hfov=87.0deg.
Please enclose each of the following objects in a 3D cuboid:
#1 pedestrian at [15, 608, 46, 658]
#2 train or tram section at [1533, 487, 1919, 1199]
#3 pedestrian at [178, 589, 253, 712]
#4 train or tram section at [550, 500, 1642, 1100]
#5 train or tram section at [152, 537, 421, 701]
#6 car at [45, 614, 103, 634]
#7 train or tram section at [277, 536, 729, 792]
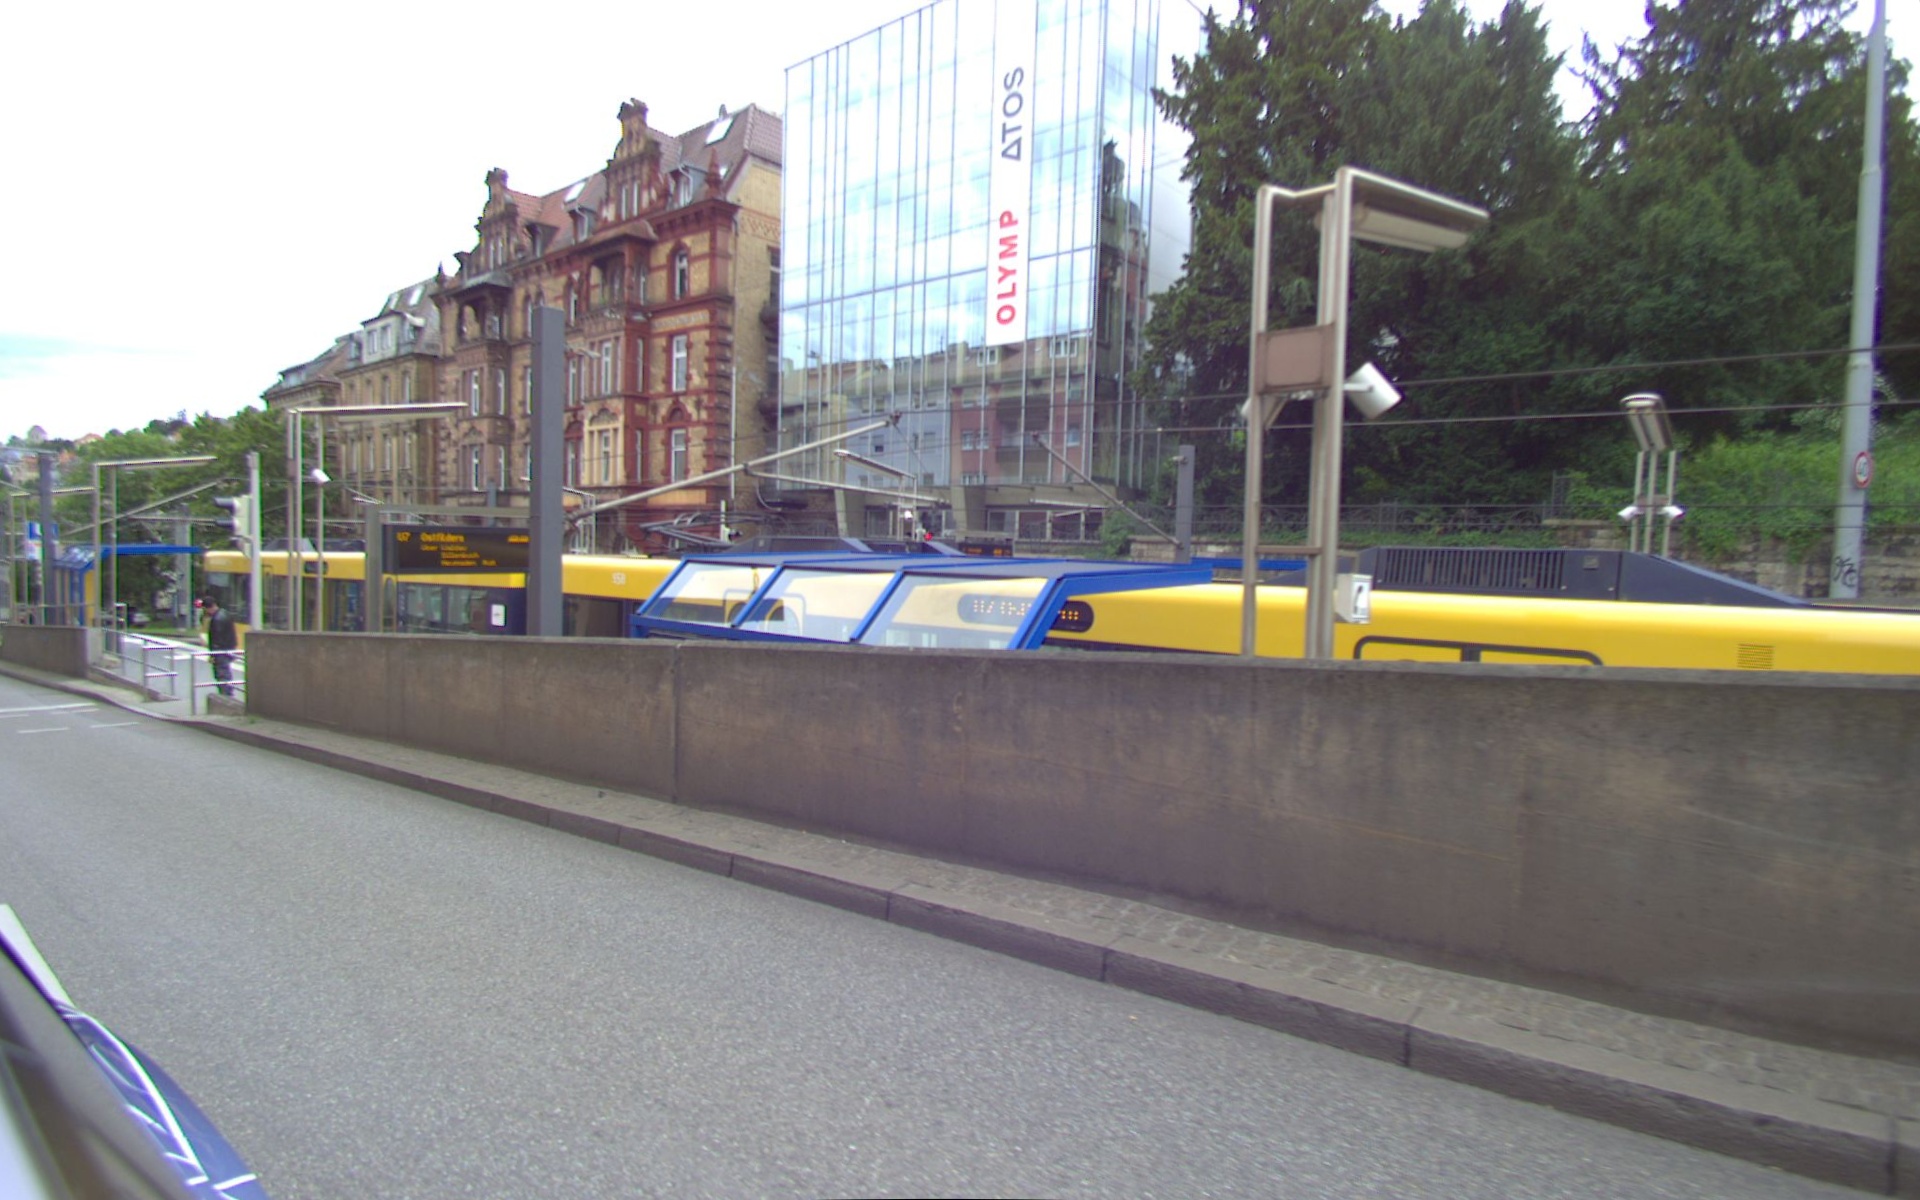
[{"bbox_3d":[-32.391,1.137,35.252,0.658,1.708,0.616,-1,0,31],"label":"pedestrian"},{"bbox_3d":[9.265,1.260,2.887,12.979,3.535,2.919,1,1,41],"label":"train or tram section"},{"bbox_3d":[-11.321,0.745,15.389,0.806,1.790,0.804,-2,0,-42],"label":"pedestrian"},{"bbox_3d":[-0.100,1.024,11.028,12.213,3.509,2.919,2,2,41],"label":"train or tram section"},{"bbox_3d":[-18.468,0.221,27.168,12.394,3.569,2.918,2,2,41],"label":"train or tram section"},{"bbox_3d":[-85.435,2.309,97.616,1.770,1.828,3.836,0,0,17],"label":"car"},{"bbox_3d":[-9.249,0.624,19.005,12.214,3.497,2.919,3,3,41],"label":"train or tram section"}]
